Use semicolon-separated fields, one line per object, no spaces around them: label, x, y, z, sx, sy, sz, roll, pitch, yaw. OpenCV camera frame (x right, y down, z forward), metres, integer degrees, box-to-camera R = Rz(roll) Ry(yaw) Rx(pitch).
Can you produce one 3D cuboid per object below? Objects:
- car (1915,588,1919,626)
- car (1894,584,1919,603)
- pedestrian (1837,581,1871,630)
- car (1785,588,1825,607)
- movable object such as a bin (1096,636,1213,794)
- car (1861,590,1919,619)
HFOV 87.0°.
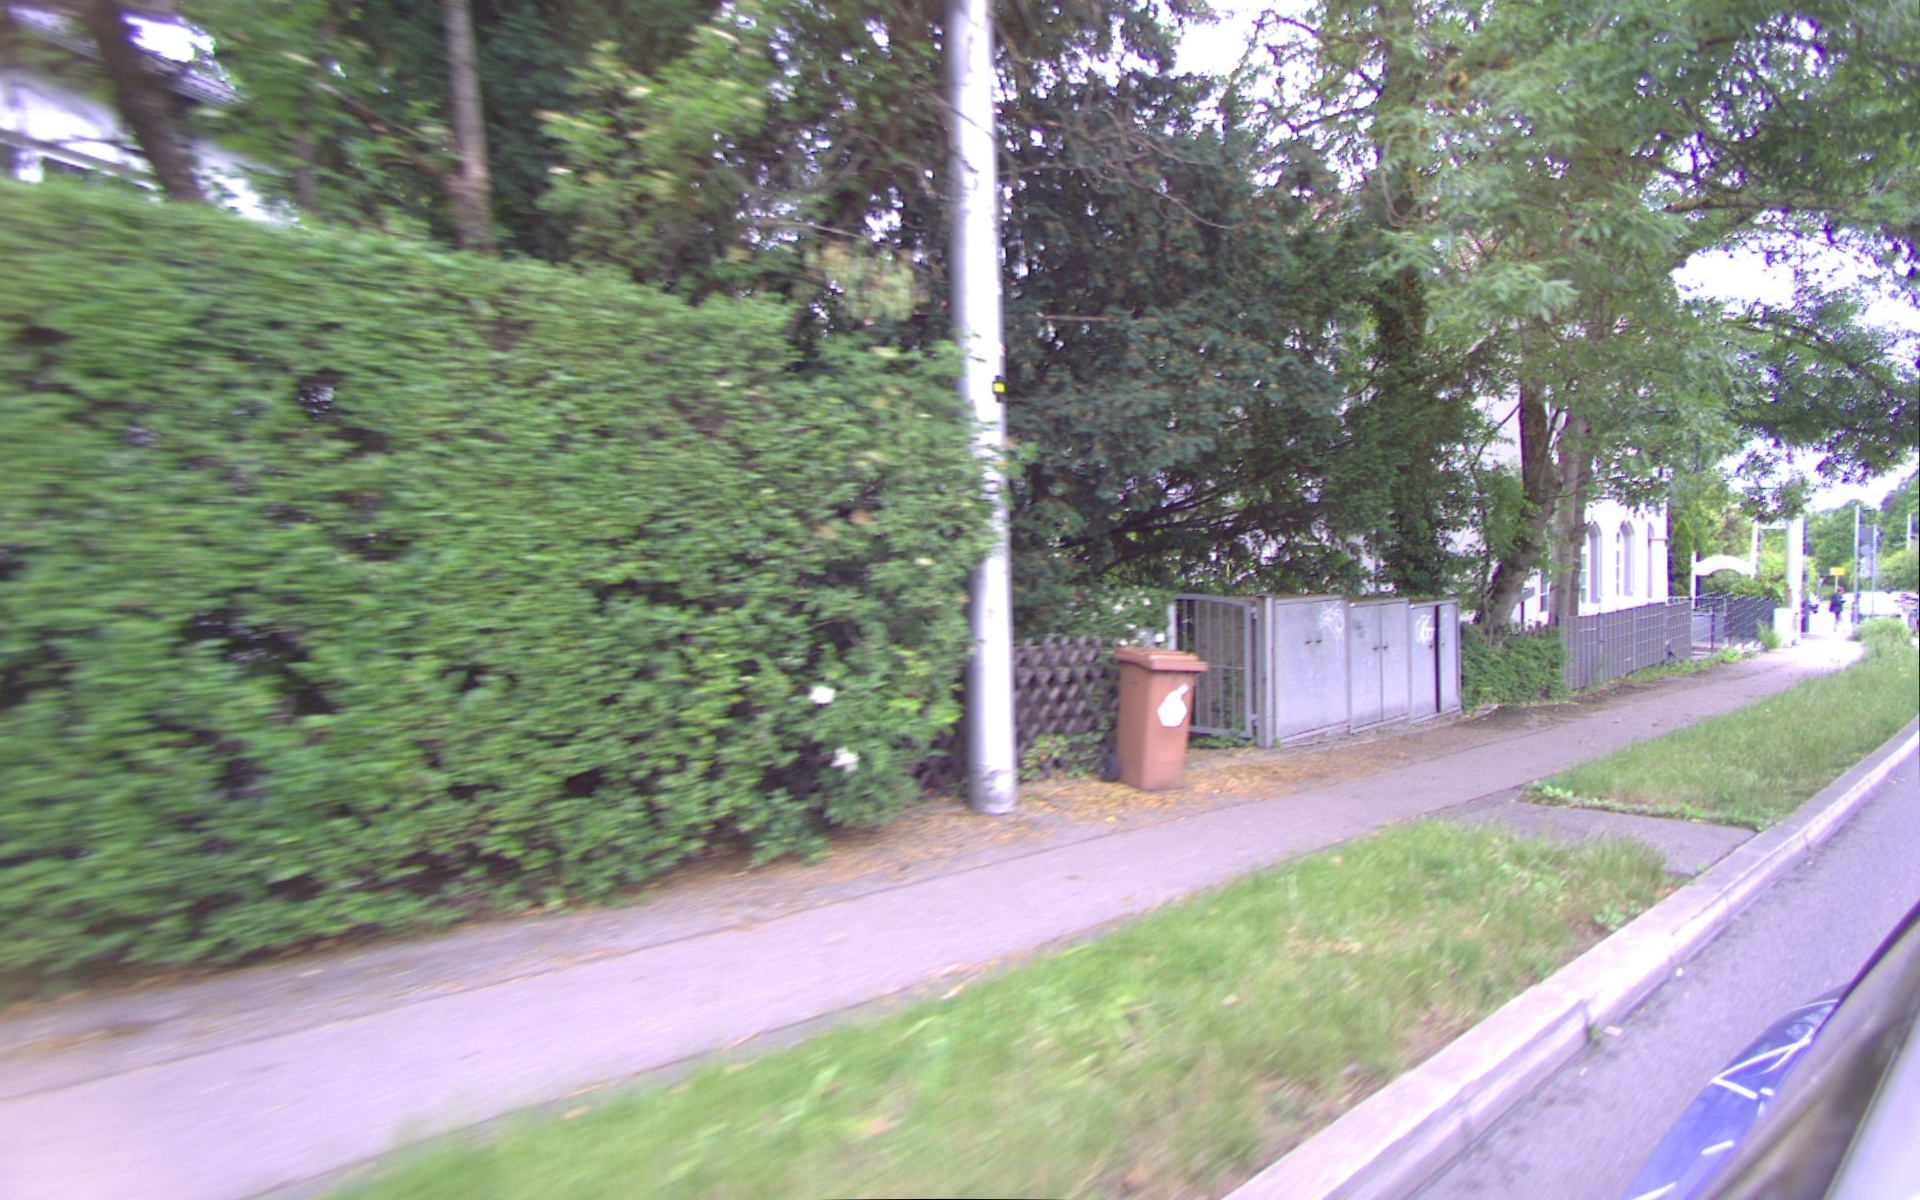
car;38.714;0.306;39.442;1.670;1.560;4.552;1;1;37
car;78.083;-0.570;82.750;1.684;1.520;4.502;-1;0;32
pedestrian;34.174;0.213;38.692;0.681;1.857;0.621;-1;0;-8
car;64.926;-0.240;77.787;1.795;1.411;4.235;1;1;32
movable object such as a bin;1.296;0.735;6.755;0.558;0.959;0.555;0;0;-45
car;49.451;0.208;53.874;1.798;1.411;4.229;1;1;36
